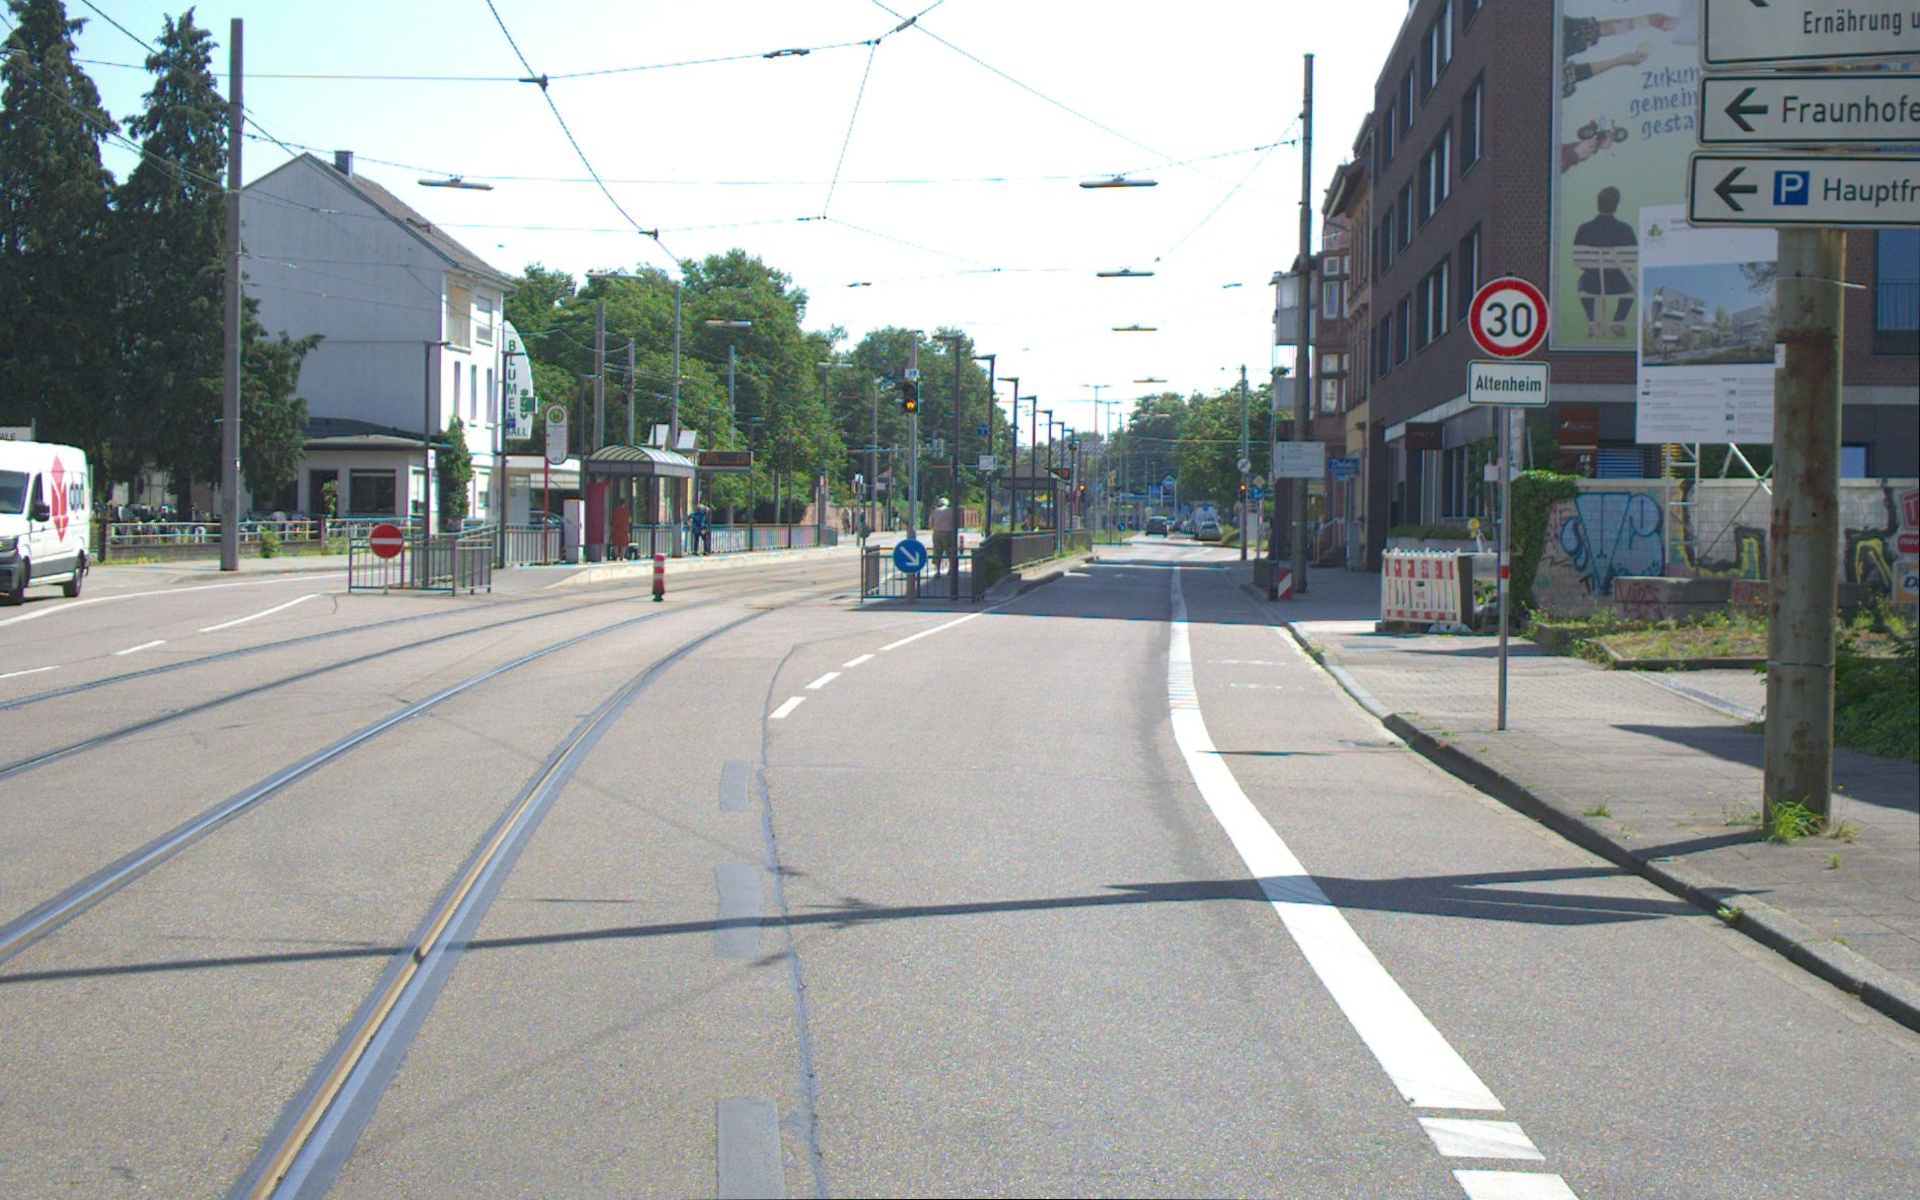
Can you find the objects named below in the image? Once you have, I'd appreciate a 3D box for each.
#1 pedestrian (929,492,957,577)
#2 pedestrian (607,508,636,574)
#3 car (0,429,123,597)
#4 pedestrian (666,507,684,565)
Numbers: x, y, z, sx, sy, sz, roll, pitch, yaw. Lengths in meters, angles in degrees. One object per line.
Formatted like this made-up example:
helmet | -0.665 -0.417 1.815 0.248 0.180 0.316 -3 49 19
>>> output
pedestrian | -0.359 -1.366 71.282 0.556 1.754 0.793 0 1 -2
pedestrian | -8.740 -1.525 88.813 0.705 1.684 0.416 1 1 -4
car | -15.396 -1.444 55.437 2.329 2.527 6.507 3 1 -2
pedestrian | -8.269 -1.859 99.733 0.415 1.684 0.708 1 1 -10
